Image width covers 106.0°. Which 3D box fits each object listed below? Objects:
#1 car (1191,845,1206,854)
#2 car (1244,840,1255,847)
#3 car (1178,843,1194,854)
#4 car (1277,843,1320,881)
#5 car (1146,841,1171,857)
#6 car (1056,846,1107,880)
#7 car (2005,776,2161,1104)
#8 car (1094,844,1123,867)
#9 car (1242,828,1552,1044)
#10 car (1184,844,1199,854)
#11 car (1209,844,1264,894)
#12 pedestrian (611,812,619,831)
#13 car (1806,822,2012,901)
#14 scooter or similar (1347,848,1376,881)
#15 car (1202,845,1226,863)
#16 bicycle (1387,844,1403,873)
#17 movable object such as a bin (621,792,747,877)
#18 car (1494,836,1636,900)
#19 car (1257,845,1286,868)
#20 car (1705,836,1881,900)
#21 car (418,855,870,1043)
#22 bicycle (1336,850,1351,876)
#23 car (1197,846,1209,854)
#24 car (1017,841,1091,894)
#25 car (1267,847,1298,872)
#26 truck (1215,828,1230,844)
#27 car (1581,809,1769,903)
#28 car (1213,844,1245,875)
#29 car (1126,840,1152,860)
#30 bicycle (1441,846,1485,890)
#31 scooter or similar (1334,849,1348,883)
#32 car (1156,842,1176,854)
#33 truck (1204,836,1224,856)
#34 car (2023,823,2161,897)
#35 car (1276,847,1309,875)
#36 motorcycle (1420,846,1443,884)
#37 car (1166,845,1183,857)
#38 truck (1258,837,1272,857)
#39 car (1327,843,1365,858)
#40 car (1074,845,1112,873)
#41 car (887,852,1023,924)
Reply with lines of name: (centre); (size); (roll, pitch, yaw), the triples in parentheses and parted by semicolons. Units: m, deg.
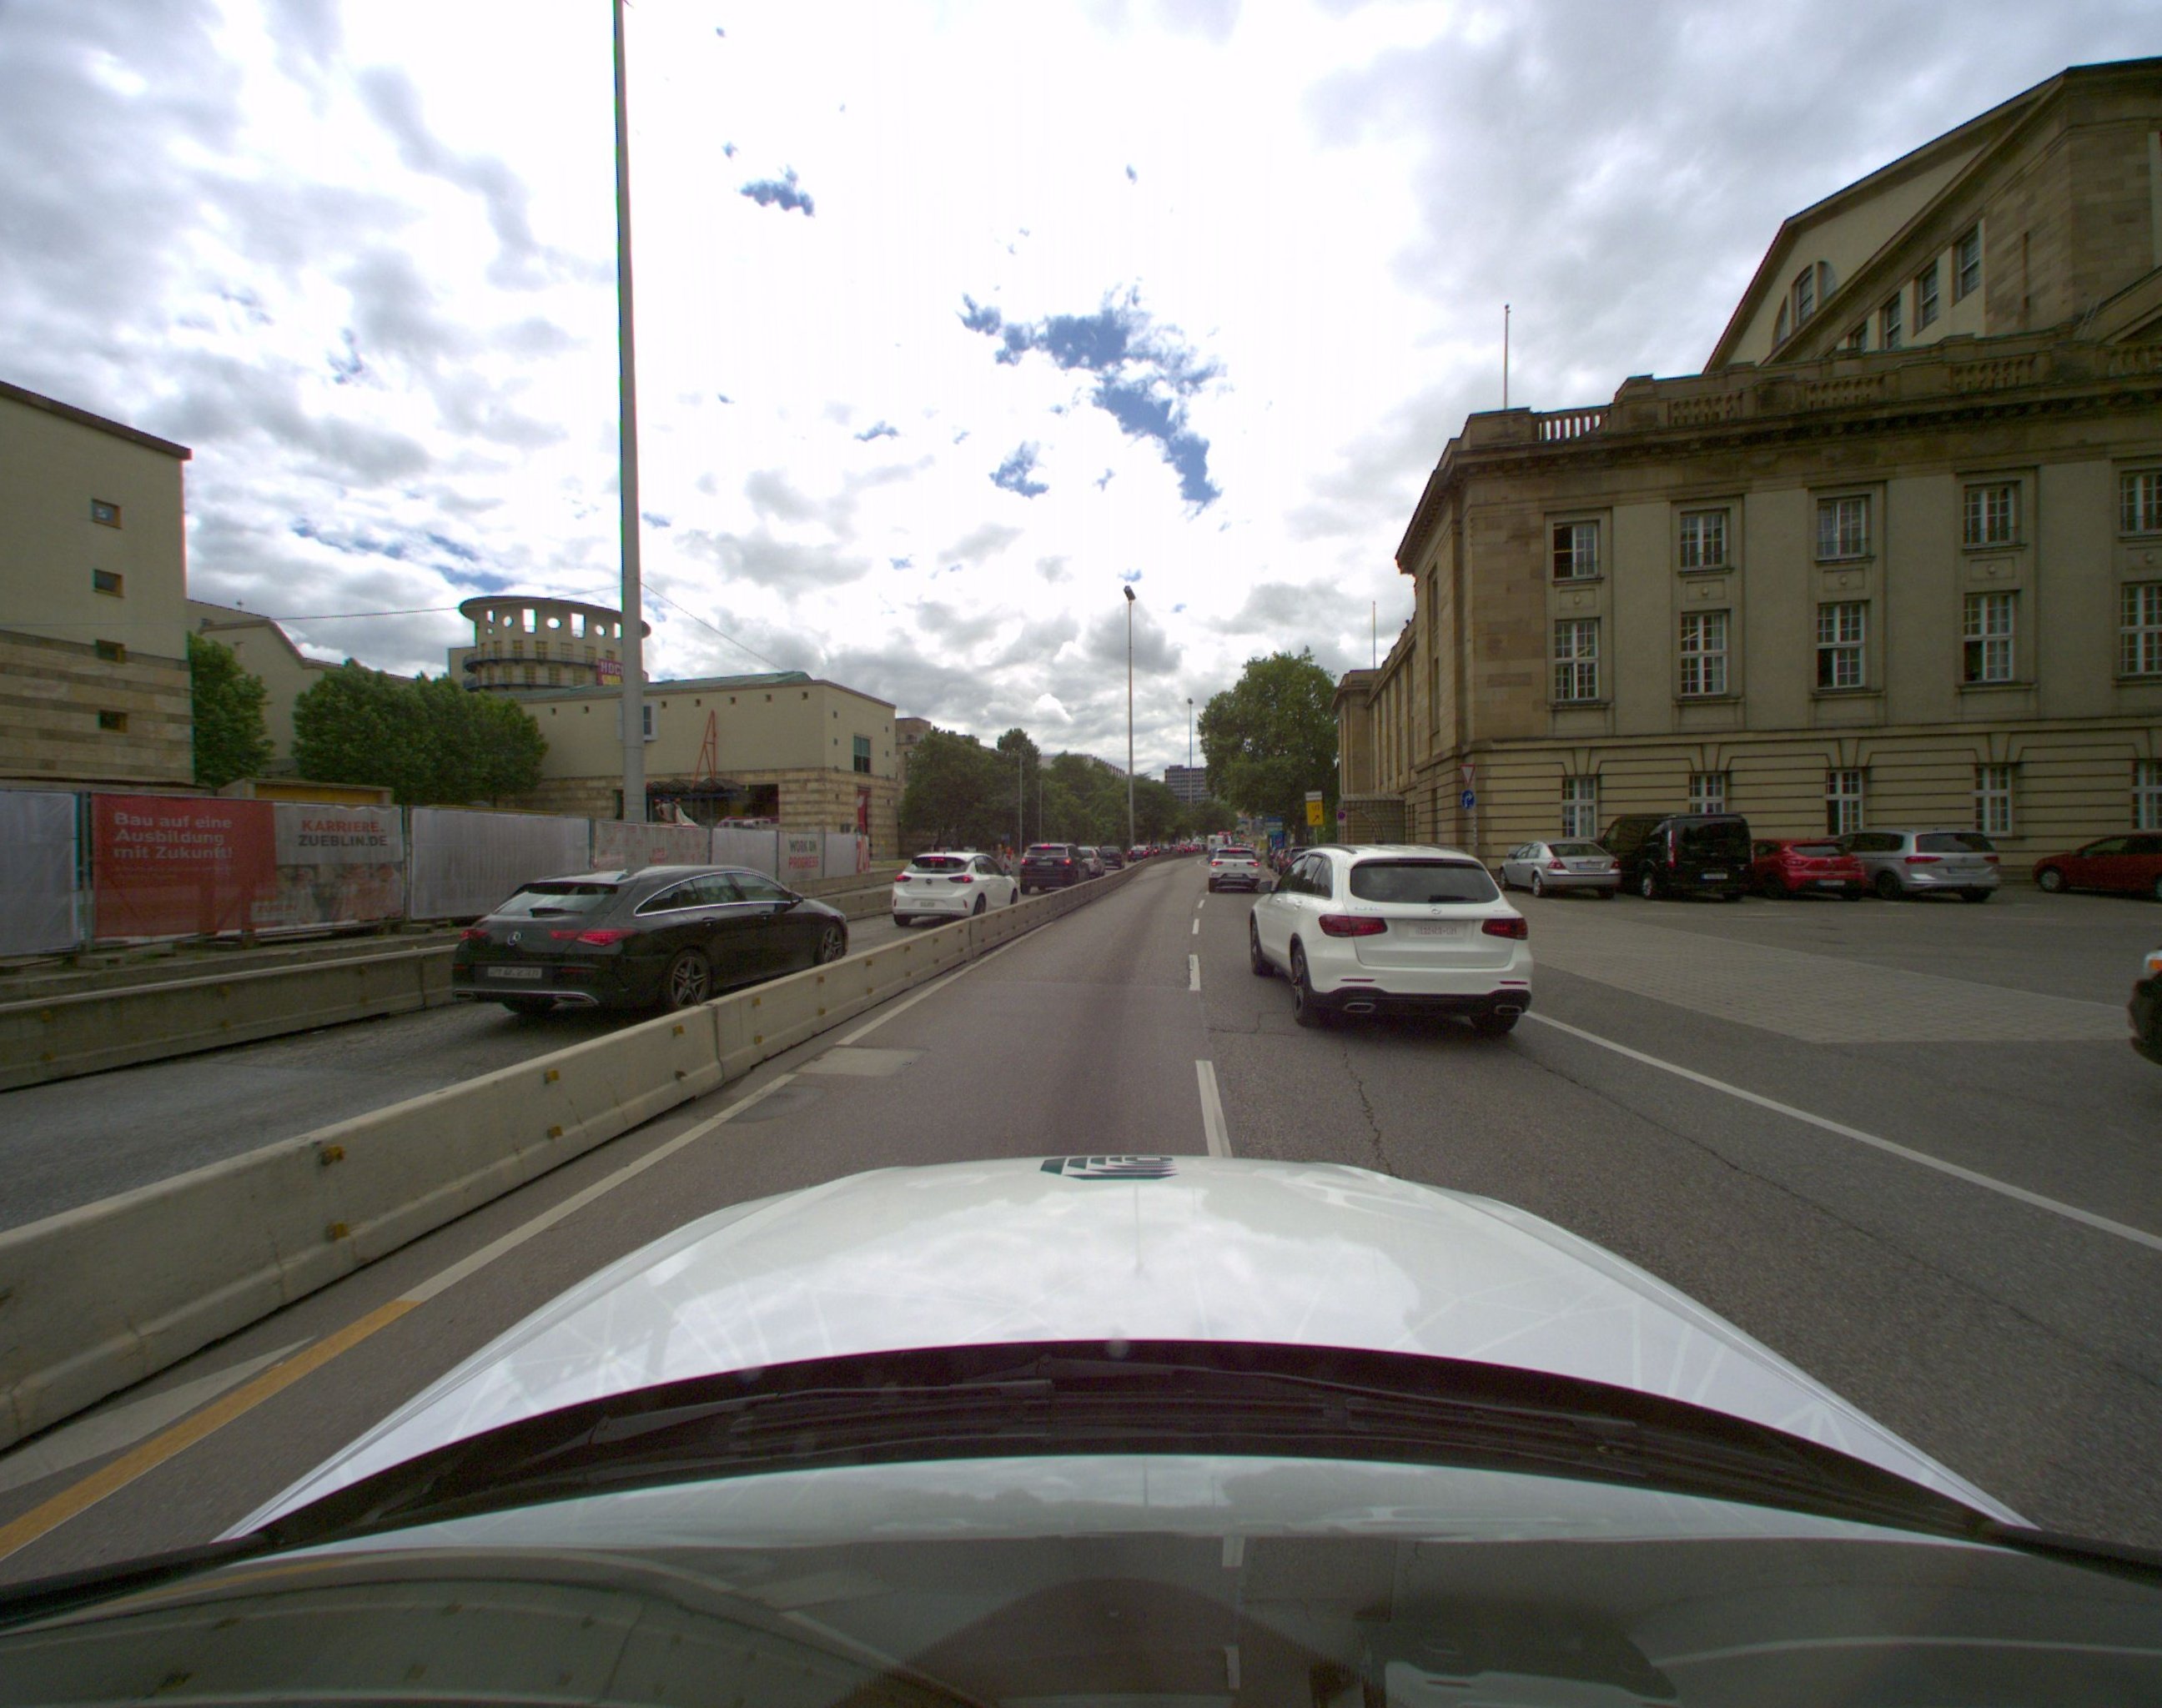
car: (17.465, -0.693, 120.732); (1.646, 1.319, 3.562); (1, 1, 16)
car: (34.942, -2.129, 168.647); (1.933, 1.319, 4.032); (1, 1, 14)
car: (13.942, -0.725, 108.041); (1.764, 1.420, 4.014); (0, 1, 13)
car: (9.896, 0.335, 37.275); (1.536, 1.552, 3.720); (-3, 0, 11)
car: (7.606, -0.502, 79.803); (1.804, 1.499, 4.786); (0, 1, 13)
car: (0.086, 0.359, 38.187); (1.869, 1.481, 4.713); (1, 1, 6)
car: (6.437, 0.495, 2.794); (1.795, 1.738, 4.496); (1, 1, 7)
car: (1.836, 0.071, 52.662); (1.651, 1.454, 4.204); (1, 0, 5)
car: (2.882, 0.618, 8.535); (1.780, 1.625, 4.442); (1, 0, 4)
car: (15.726, -0.719, 116.090); (1.647, 1.319, 3.562); (1, 0, 16)
car: (5.472, 0.486, 28.996); (1.785, 1.608, 3.764); (1, 1, 9)
pedestrian: (-51.069, -3.577, 89.241); (0.408, 2.013, 0.603); (2, 0, 12)
car: (19.264, 0.123, 19.185); (1.632, 1.669, 3.628); (1, 1, 11)
scooter or similar: (10.712, 0.395, 31.131); (0.450, 1.253, 1.365); (0, -1, -8)
car: (10.809, 0.023, 66.009); (1.648, 1.413, 3.560); (1, 0, 13)
bicycle: (14.436, 0.205, 37.413); (0.409, 1.288, 1.796); (0, 0, 12)
movable object such as a bin: (-10.867, -0.515, 22.519); (1.513, 2.185, 3.300); (0, 1, 8)
car: (12.444, 0.268, 21.286); (1.766, 1.469, 4.589); (1, 1, 11)
car: (13.306, 0.143, 57.151); (1.777, 1.486, 4.338); (1, 0, 10)
car: (17.187, 0.266, 19.902); (1.632, 1.413, 3.628); (1, 1, 11)
car: (-4.166, 0.753, 8.843); (1.843, 1.415, 4.578); (1, 1, 10)
bicycle: (12.144, 0.395, 37.659); (0.456, 1.156, 1.837); (0, 0, 11)
car: (20.847, -0.632, 139.050); (1.647, 1.319, 3.561); (1, 0, 14)
car: (-0.821, 0.412, 27.062); (1.766, 1.621, 4.055); (1, 0, 8)
car: (12.489, 0.313, 50.675); (1.697, 1.426, 4.010); (-1, 0, 11)
truck: (29.236, -3.724, 168.041); (2.674, 2.991, 5.657); (2, 0, 12)
car: (14.665, -0.017, 20.523); (1.935, 2.068, 4.932); (1, 1, 11)
car: (8.172, 0.251, 44.906); (1.649, 1.639, 3.558); (0, 1, 10)
car: (5.172, -0.360, 71.708); (1.913, 1.636, 4.947); (1, 0, 8)
bicycle: (11.433, 0.392, 24.432); (0.605, 1.224, 1.968); (-3, 0, 9)
scooter or similar: (10.052, 0.442, 31.456); (0.377, 1.261, 1.408); (0, 0, 12)
car: (9.526, -0.697, 90.611); (1.666, 1.367, 4.559); (0, 1, 13)
truck: (20.784, -1.273, 126.800); (2.603, 2.861, 7.103); (1, 1, 12)
car: (23.650, 0.113, 17.999); (1.632, 1.534, 3.932); (1, 1, 11)
car: (11.693, 0.360, 45.187); (1.605, 1.455, 3.871); (-1, 0, 12)
motorcycle: (11.946, 0.367, 27.820); (0.451, 1.242, 1.931); (-1, 0, 16)
car: (11.536, -0.379, 100.049); (1.650, 1.436, 3.974); (1, 0, 13)
truck: (39.840, -1.526, 176.606); (2.858, 4.102, 6.659); (1, 1, 11)
car: (28.613, -0.385, 88.089); (3.809, 1.568, 1.685); (0, 1, 13)
car: (0.714, 0.240, 45.751); (1.663, 1.506, 3.862); (1, 0, 7)
car: (-2.486, 0.620, 17.044); (1.717, 1.296, 3.944); (1, 0, 8)
